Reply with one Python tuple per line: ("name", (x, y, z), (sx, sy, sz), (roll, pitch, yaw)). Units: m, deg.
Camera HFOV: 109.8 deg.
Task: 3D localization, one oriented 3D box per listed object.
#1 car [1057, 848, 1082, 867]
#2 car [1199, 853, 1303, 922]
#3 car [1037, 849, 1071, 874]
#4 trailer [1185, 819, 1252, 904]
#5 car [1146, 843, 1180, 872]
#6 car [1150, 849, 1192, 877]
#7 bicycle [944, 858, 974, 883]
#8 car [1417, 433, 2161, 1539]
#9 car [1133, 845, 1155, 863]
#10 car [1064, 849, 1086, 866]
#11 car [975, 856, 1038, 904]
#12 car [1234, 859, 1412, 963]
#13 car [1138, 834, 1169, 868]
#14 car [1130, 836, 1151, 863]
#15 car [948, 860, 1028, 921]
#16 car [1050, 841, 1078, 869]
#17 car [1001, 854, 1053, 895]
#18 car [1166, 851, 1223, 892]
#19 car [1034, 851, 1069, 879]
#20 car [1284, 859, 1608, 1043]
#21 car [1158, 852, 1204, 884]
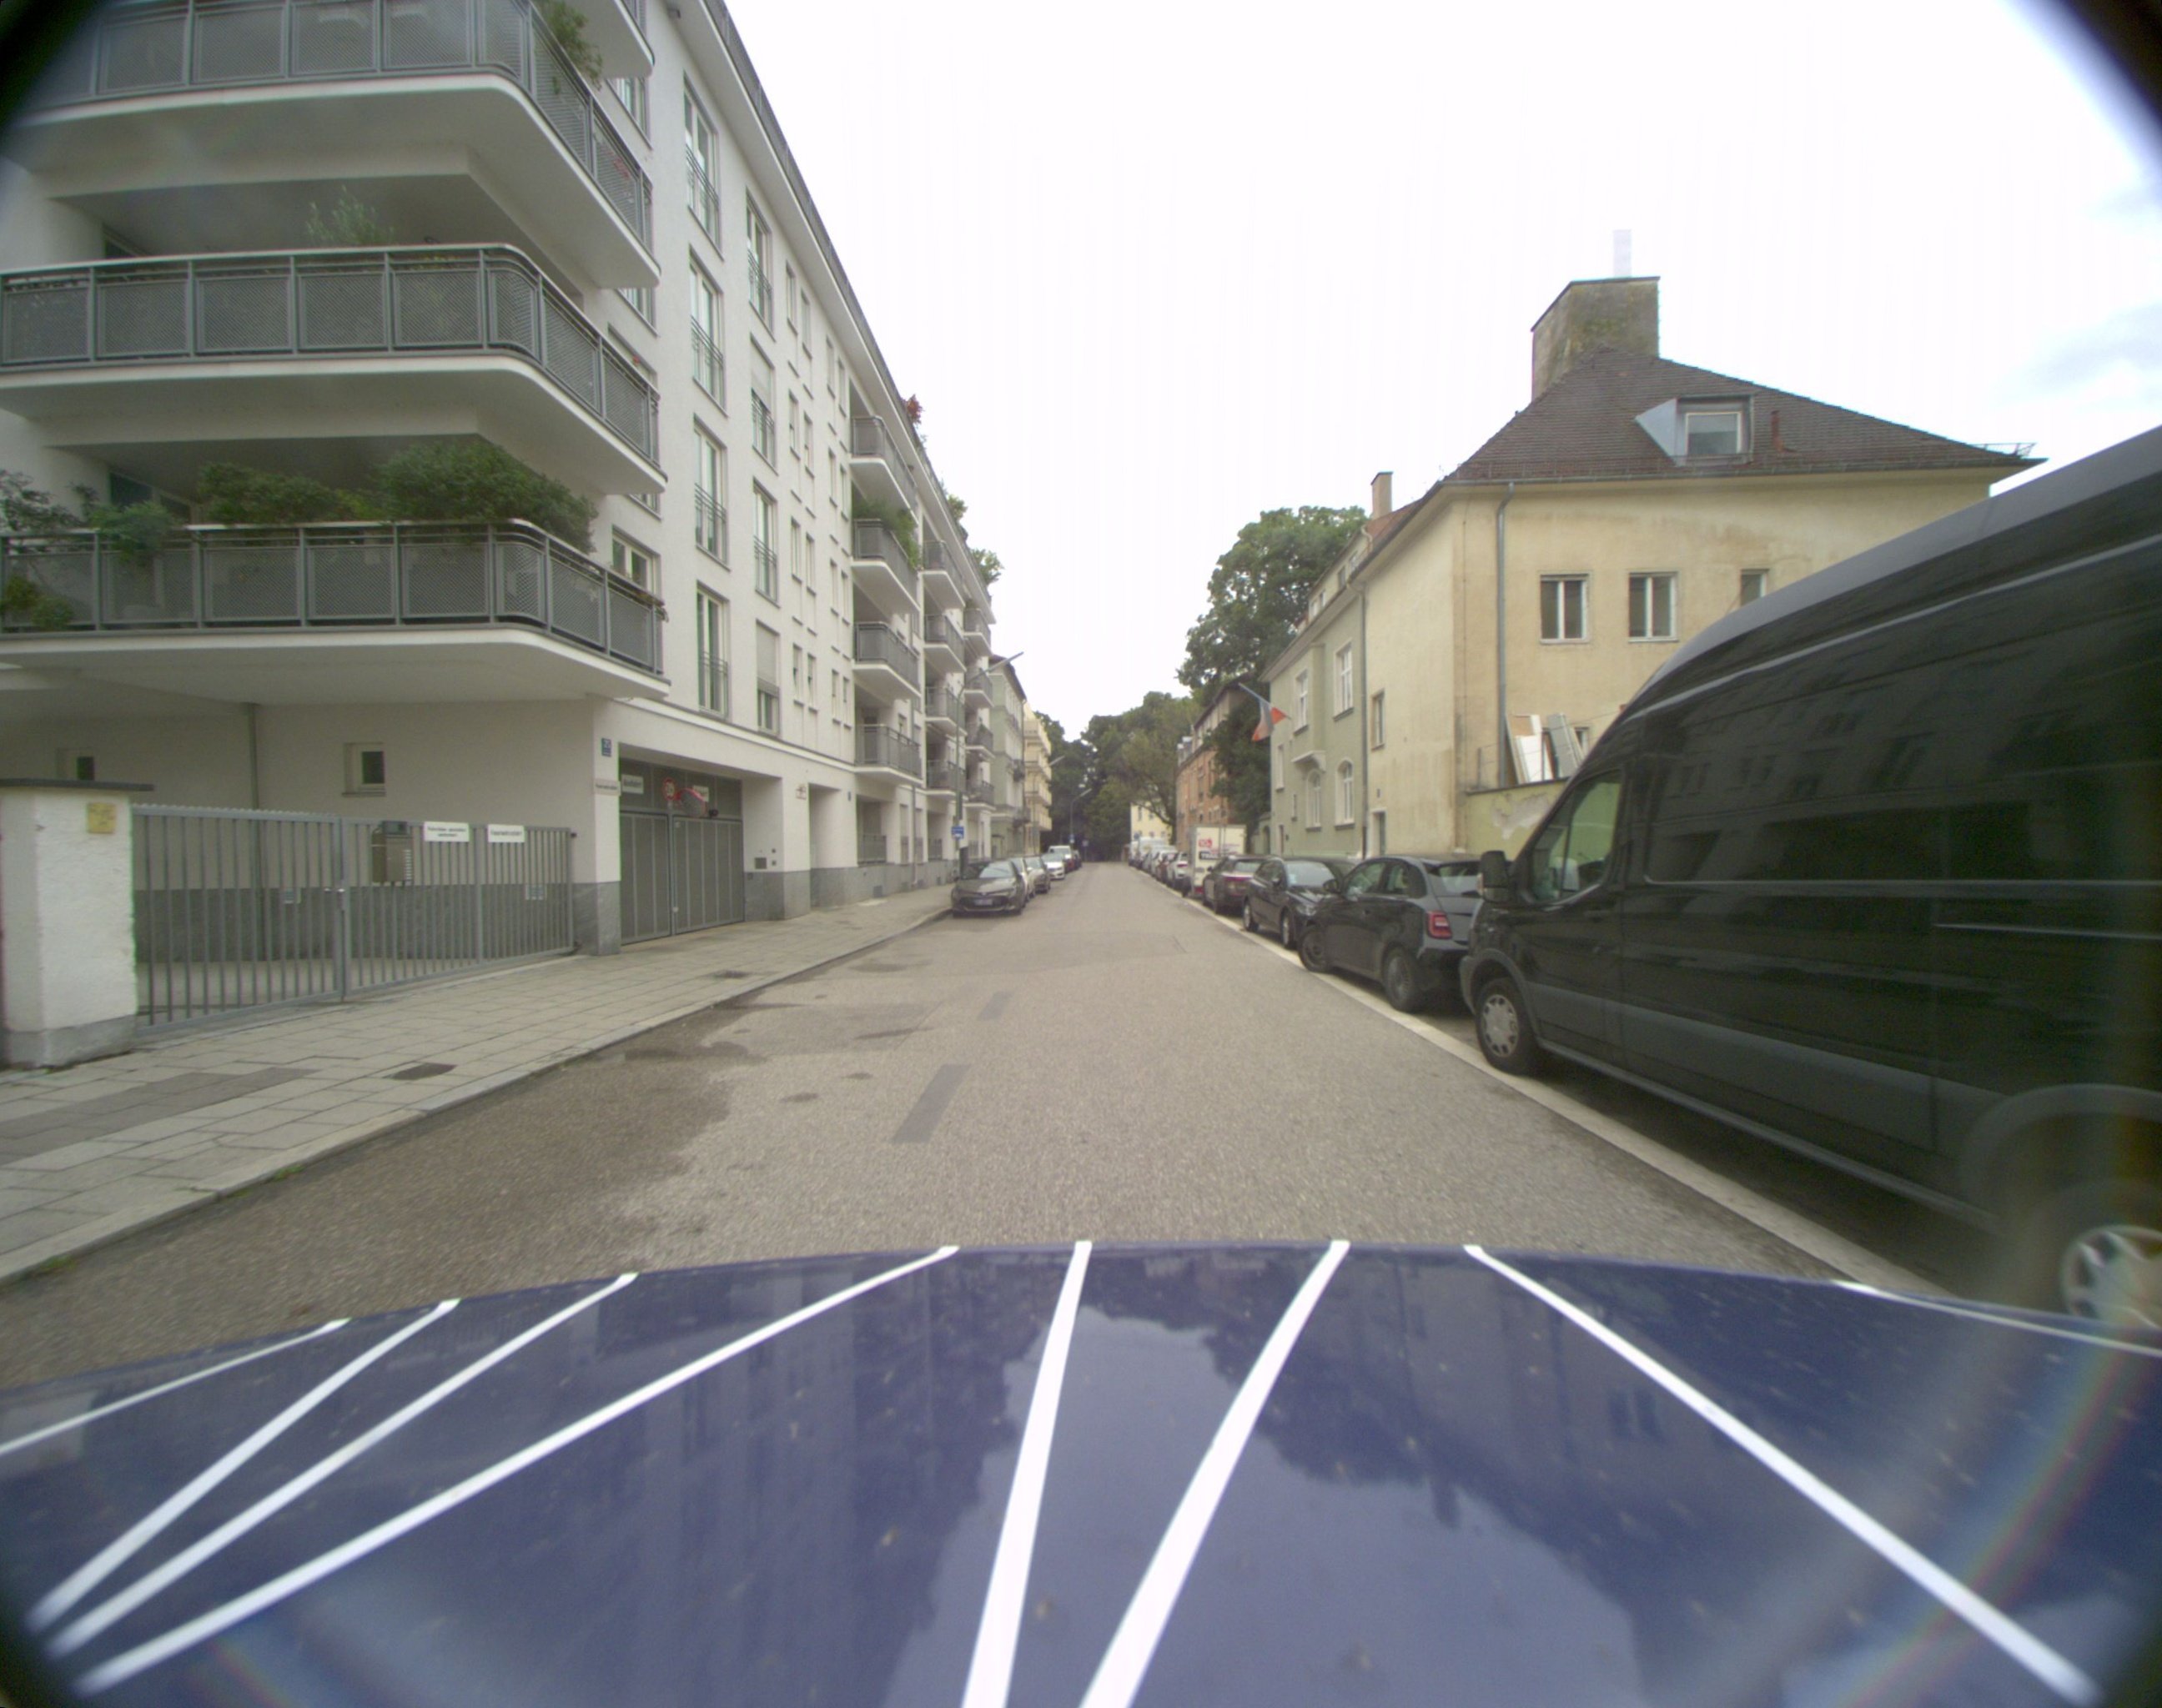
("car", (-0.904, 0.262, 62.816), (1.871, 1.455, 4.268), (-1, 1, 2))
("car", (4.179, 0.757, 19.371), (1.817, 1.491, 4.643), (0, 1, 3))
("car", (-1.671, 0.466, 48.526), (1.765, 1.449, 3.748), (-1, 1, 4))
("trailer", (4.452, 0.200, 24.994), (1.817, 2.521, 3.390), (3, 1, 6))
("car", (5.072, 0.197, 47.383), (1.817, 1.724, 3.649), (-1, 1, 2))
("car", (4.858, 0.455, 41.582), (1.818, 1.444, 3.927), (-1, 1, 0))
("bicycle", (-5.552, 0.743, 34.589), (0.580, 1.008, 1.955), (-2, 1, 14))
("car", (3.785, 0.301, 3.323), (2.302, 2.630, 5.653), (0, 1, 2))
("car", (5.653, -0.045, 68.353), (1.817, 1.526, 3.752), (-1, 1, 3))
("car", (-0.553, 0.306, 72.960), (1.871, 1.455, 4.268), (-1, 1, 2))
("car", (-2.466, 0.844, 25.920), (1.766, 1.449, 3.417), (-1, 1, 0))
("car", (3.929, 0.847, 13.088), (1.697, 1.417, 4.069), (0, 1, -1))
("car", (5.475, -0.255, 57.786), (2.104, 2.418, 4.549), (-1, 1, 3))
("car", (5.802, -0.436, 74.211), (1.880, 2.539, 4.370), (-1, 1, 3))
("car", (-2.430, 0.913, 20.810), (1.784, 1.386, 4.245), (-1, 1, -2))
("car", (-1.236, 0.019, 57.183), (1.871, 2.002, 4.268), (-1, 1, 2))
("car", (-2.073, 0.761, 30.161), (1.766, 1.449, 3.747), (-1, 1, 0))
("car", (4.478, 0.637, 30.459), (1.767, 1.505, 3.842), (0, 1, 1))
("car", (-1.597, 0.576, 42.140), (1.766, 1.449, 3.747), (-1, 1, 0))
("car", (3.652, 0.847, 8.337), (1.706, 1.485, 3.488), (-1, 1, -4))
("car", (4.626, 0.632, 35.682), (1.817, 1.339, 3.746), (-1, 1, 3))
